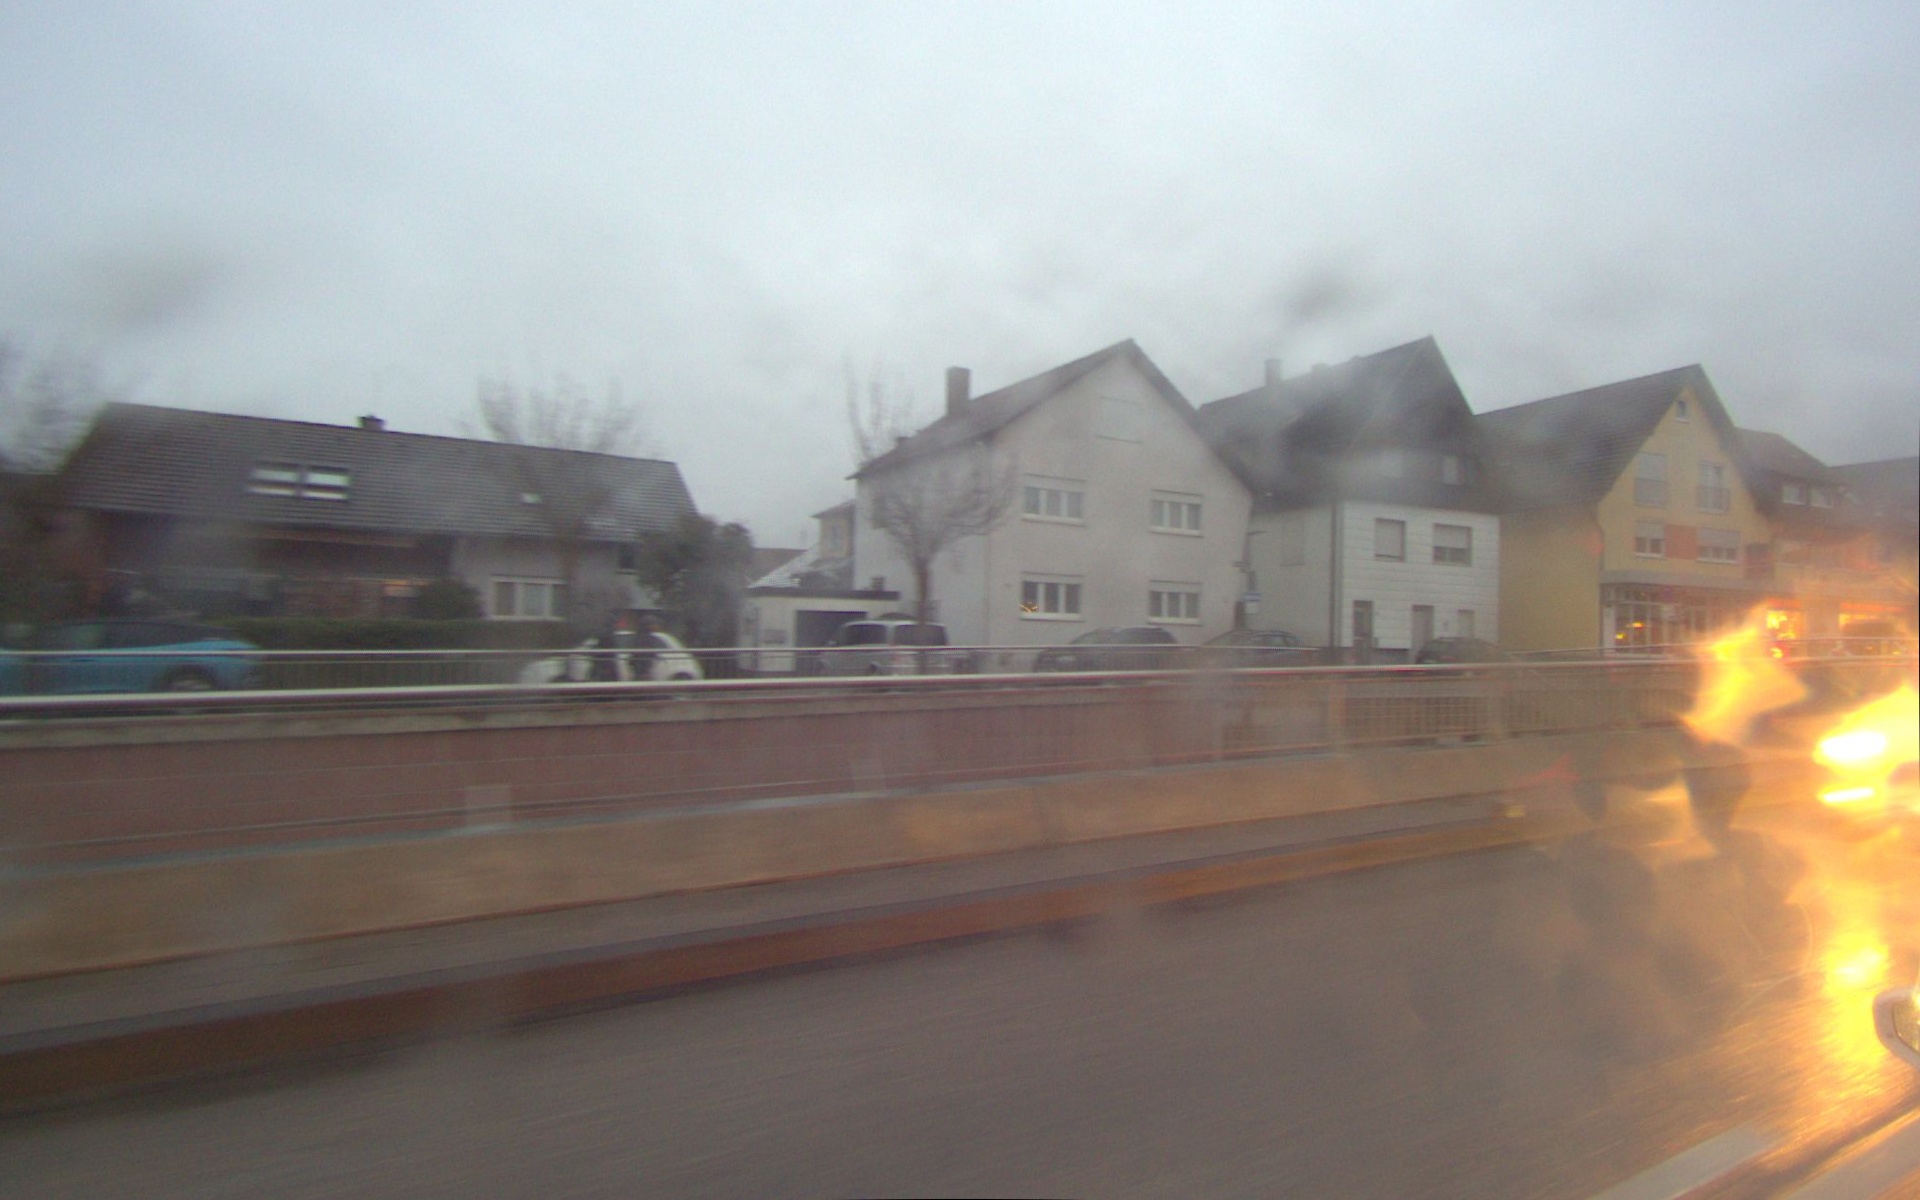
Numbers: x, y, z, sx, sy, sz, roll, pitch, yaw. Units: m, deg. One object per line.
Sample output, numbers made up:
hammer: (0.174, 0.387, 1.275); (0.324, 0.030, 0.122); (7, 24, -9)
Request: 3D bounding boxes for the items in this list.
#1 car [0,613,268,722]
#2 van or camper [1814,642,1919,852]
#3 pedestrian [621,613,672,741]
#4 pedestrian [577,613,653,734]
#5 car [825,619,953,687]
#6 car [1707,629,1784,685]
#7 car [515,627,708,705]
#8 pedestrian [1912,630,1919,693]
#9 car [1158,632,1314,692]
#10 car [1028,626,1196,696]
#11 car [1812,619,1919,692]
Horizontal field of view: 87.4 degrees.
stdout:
car: (-13.492, 1.082, 16.197); (3.784, 1.601, 1.555); (3, -4, -35)
van or camper: (7.897, 0.996, 7.229); (3.380, 1.373, 1.556); (1, -2, -29)
pedestrian: (-4.364, 1.048, 13.962); (0.535, 1.720, 0.660); (1, 0, -29)
pedestrian: (-5.439, 1.129, 15.809); (0.961, 1.808, 0.924); (1, 0, -29)
car: (-2.022, 1.438, 27.508); (1.844, 1.716, 3.966); (1, -3, -32)
car: (24.578, 1.736, 31.447); (1.799, 1.634, 4.040); (-1, -2, 38)
car: (-6.986, 1.297, 20.192); (3.420, 1.446, 1.475); (2, -2, -31)
pedestrian: (26.843, 1.699, 27.886); (0.490, 1.723, 0.710); (-3, -3, 39)
car: (7.901, 1.714, 28.704); (4.164, 1.583, 1.903); (1, -2, -28)
car: (4.037, 1.553, 26.528); (4.169, 1.705, 1.901); (1, -2, -31)
car: (25.925, 1.538, 28.872); (2.012, 1.951, 4.040); (-1, -2, 38)
